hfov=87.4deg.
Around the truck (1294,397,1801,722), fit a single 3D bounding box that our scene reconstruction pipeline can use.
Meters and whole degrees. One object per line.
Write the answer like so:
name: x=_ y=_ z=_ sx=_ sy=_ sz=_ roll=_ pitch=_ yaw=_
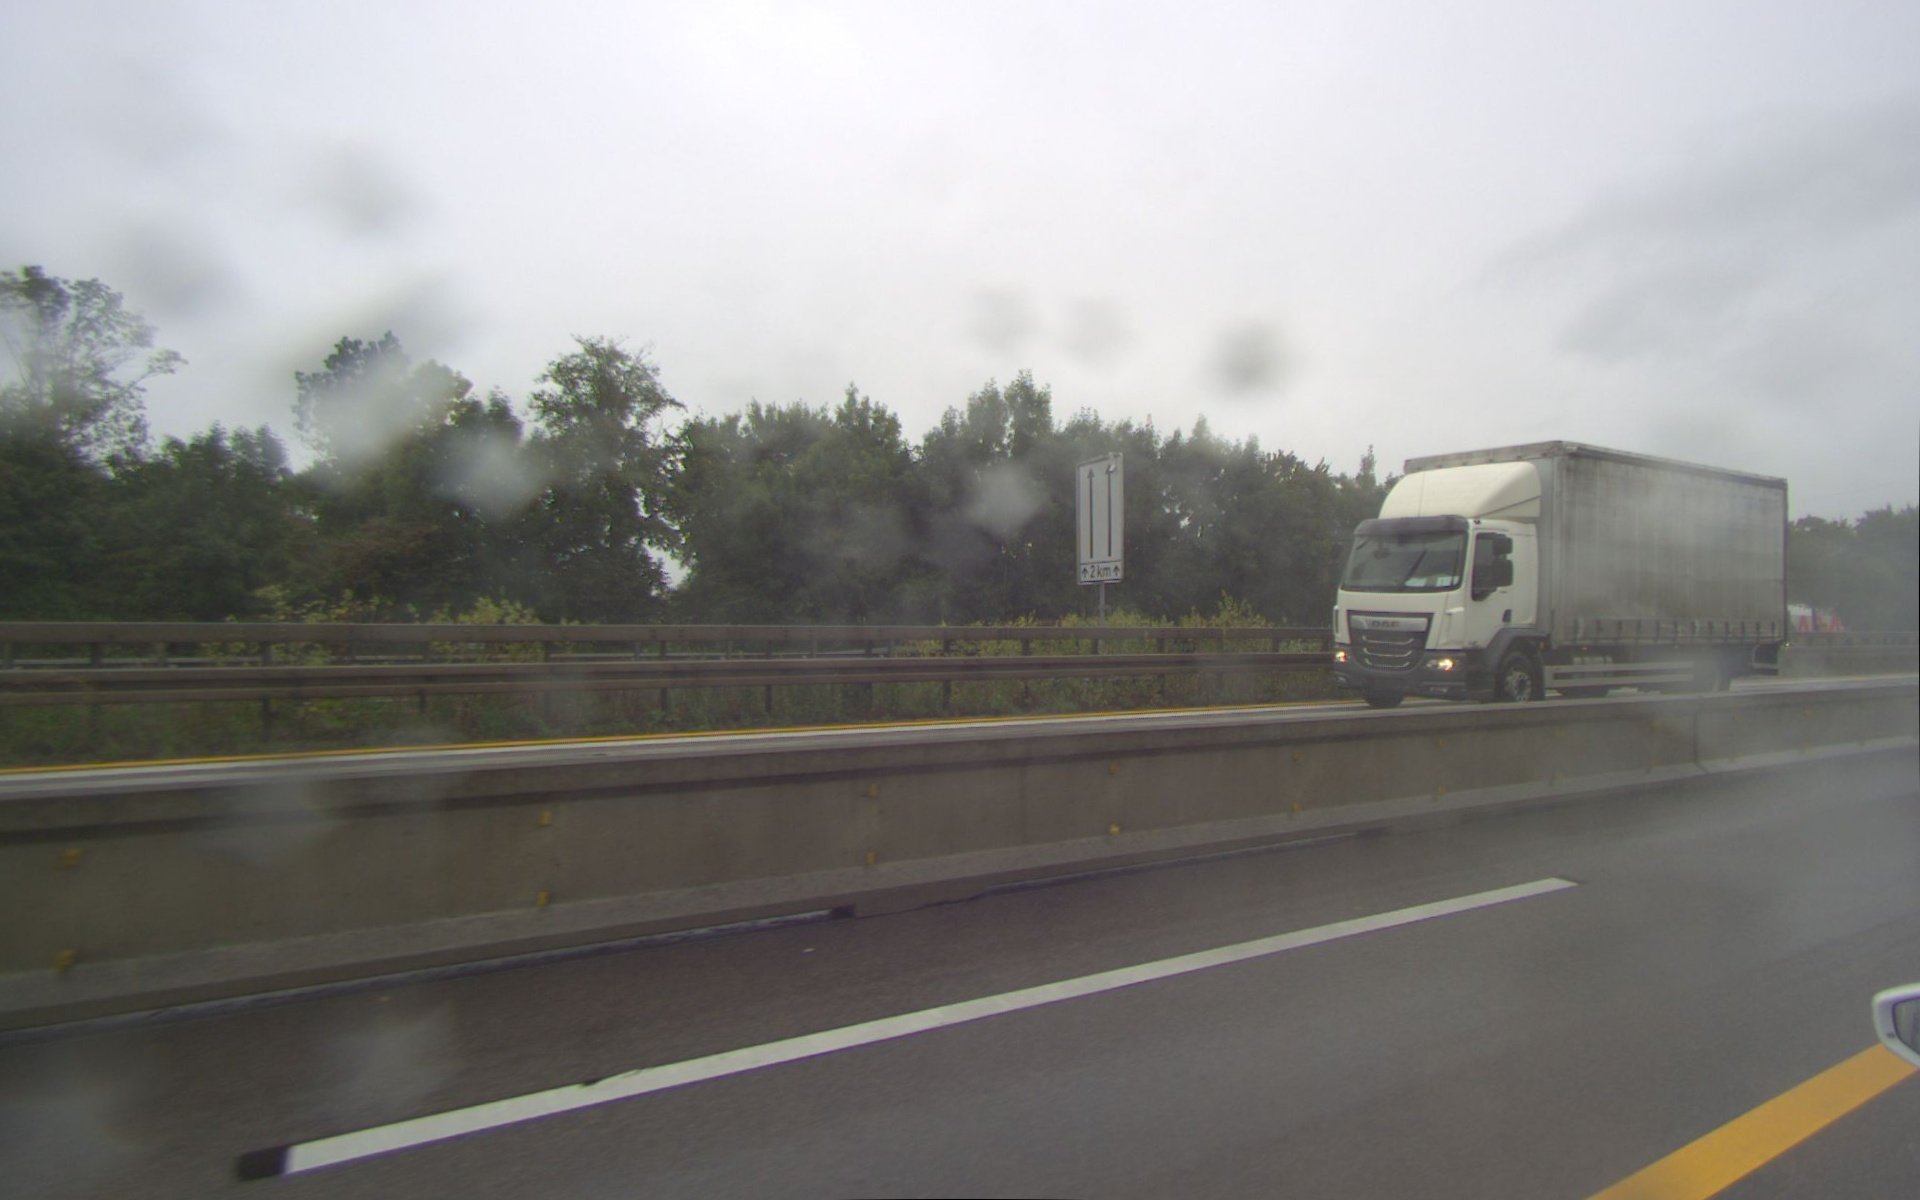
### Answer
truck: x=10.148 y=-0.337 z=16.825 sx=9.717 sy=4.221 sz=2.991 roll=2 pitch=-2 yaw=-30
